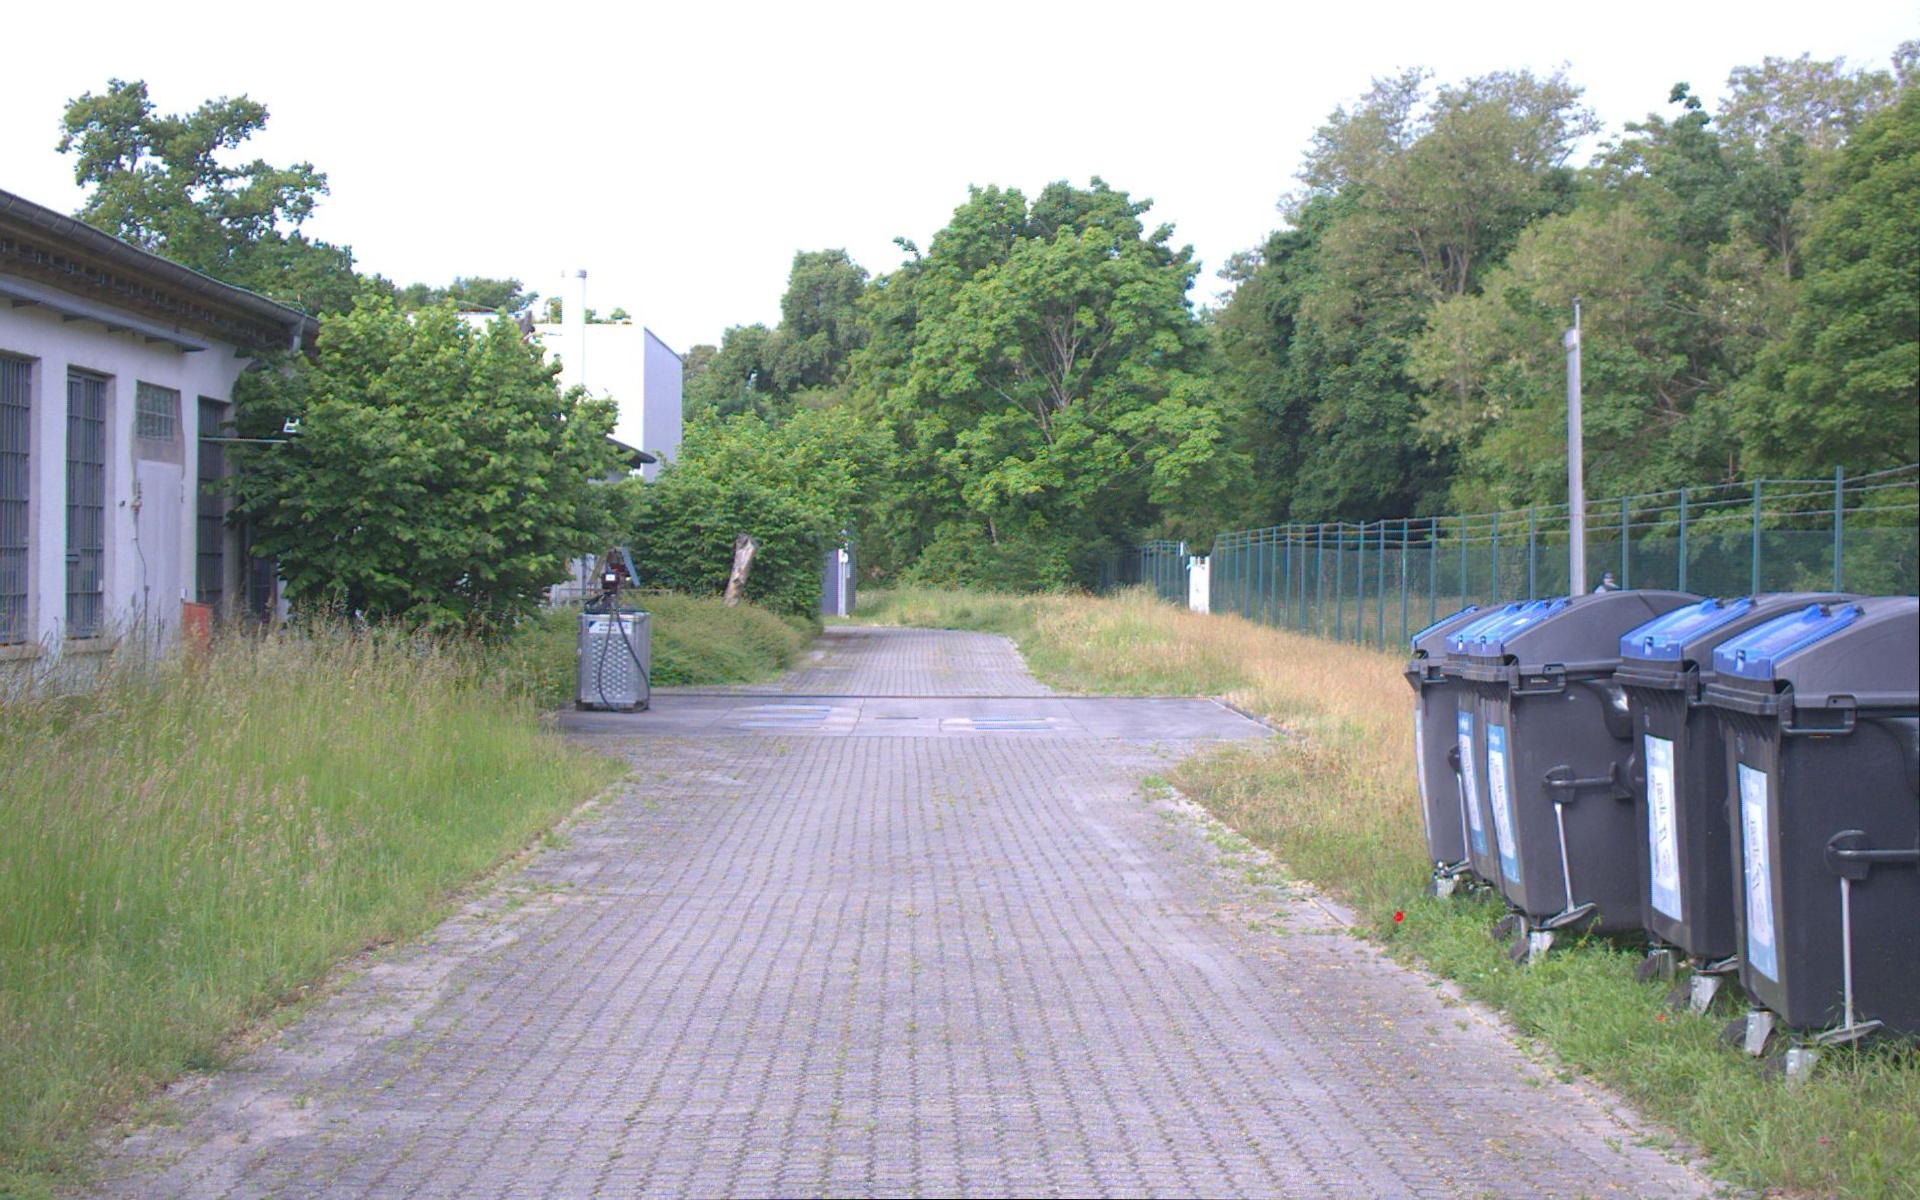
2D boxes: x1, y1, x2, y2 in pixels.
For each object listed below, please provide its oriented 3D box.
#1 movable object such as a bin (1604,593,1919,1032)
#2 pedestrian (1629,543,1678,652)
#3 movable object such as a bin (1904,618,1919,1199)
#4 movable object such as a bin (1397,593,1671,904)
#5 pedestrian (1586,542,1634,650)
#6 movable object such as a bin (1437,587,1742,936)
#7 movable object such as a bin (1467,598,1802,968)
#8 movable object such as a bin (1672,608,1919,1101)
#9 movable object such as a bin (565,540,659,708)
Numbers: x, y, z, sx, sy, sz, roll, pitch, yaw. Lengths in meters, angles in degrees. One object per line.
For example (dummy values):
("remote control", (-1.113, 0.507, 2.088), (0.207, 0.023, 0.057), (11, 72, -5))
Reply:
("movable object such as a bin", (2.816, 0.672, 11.568), (1.123, 1.369, 1.493), (1, 0, 5))
("pedestrian", (12.862, -0.045, 63.795), (0.759, 2.007, 0.664), (0, 0, -1))
("movable object such as a bin", (2.633, 0.690, 6.791), (1.123, 1.291, 1.380), (1, 0, -1))
("movable object such as a bin", (2.605, 0.654, 15.793), (1.123, 1.346, 1.425), (1, 0, 5))
("pedestrian", (12.086, -0.077, 63.929), (0.759, 2.007, 0.664), (0, 0, -1))
("movable object such as a bin", (2.601, 0.644, 14.374), (1.123, 1.374, 1.325), (1, 0, 5))
("movable object such as a bin", (2.530, 0.660, 13.073), (1.123, 1.317, 1.325), (0, 0, 5))
("movable object such as a bin", (2.749, 0.692, 9.987), (1.154, 1.320, 1.493), (1, 0, 5))
("movable object such as a bin", (-4.130, 0.282, 40.865), (0.935, 1.975, 0.853), (0, 0, 8))
